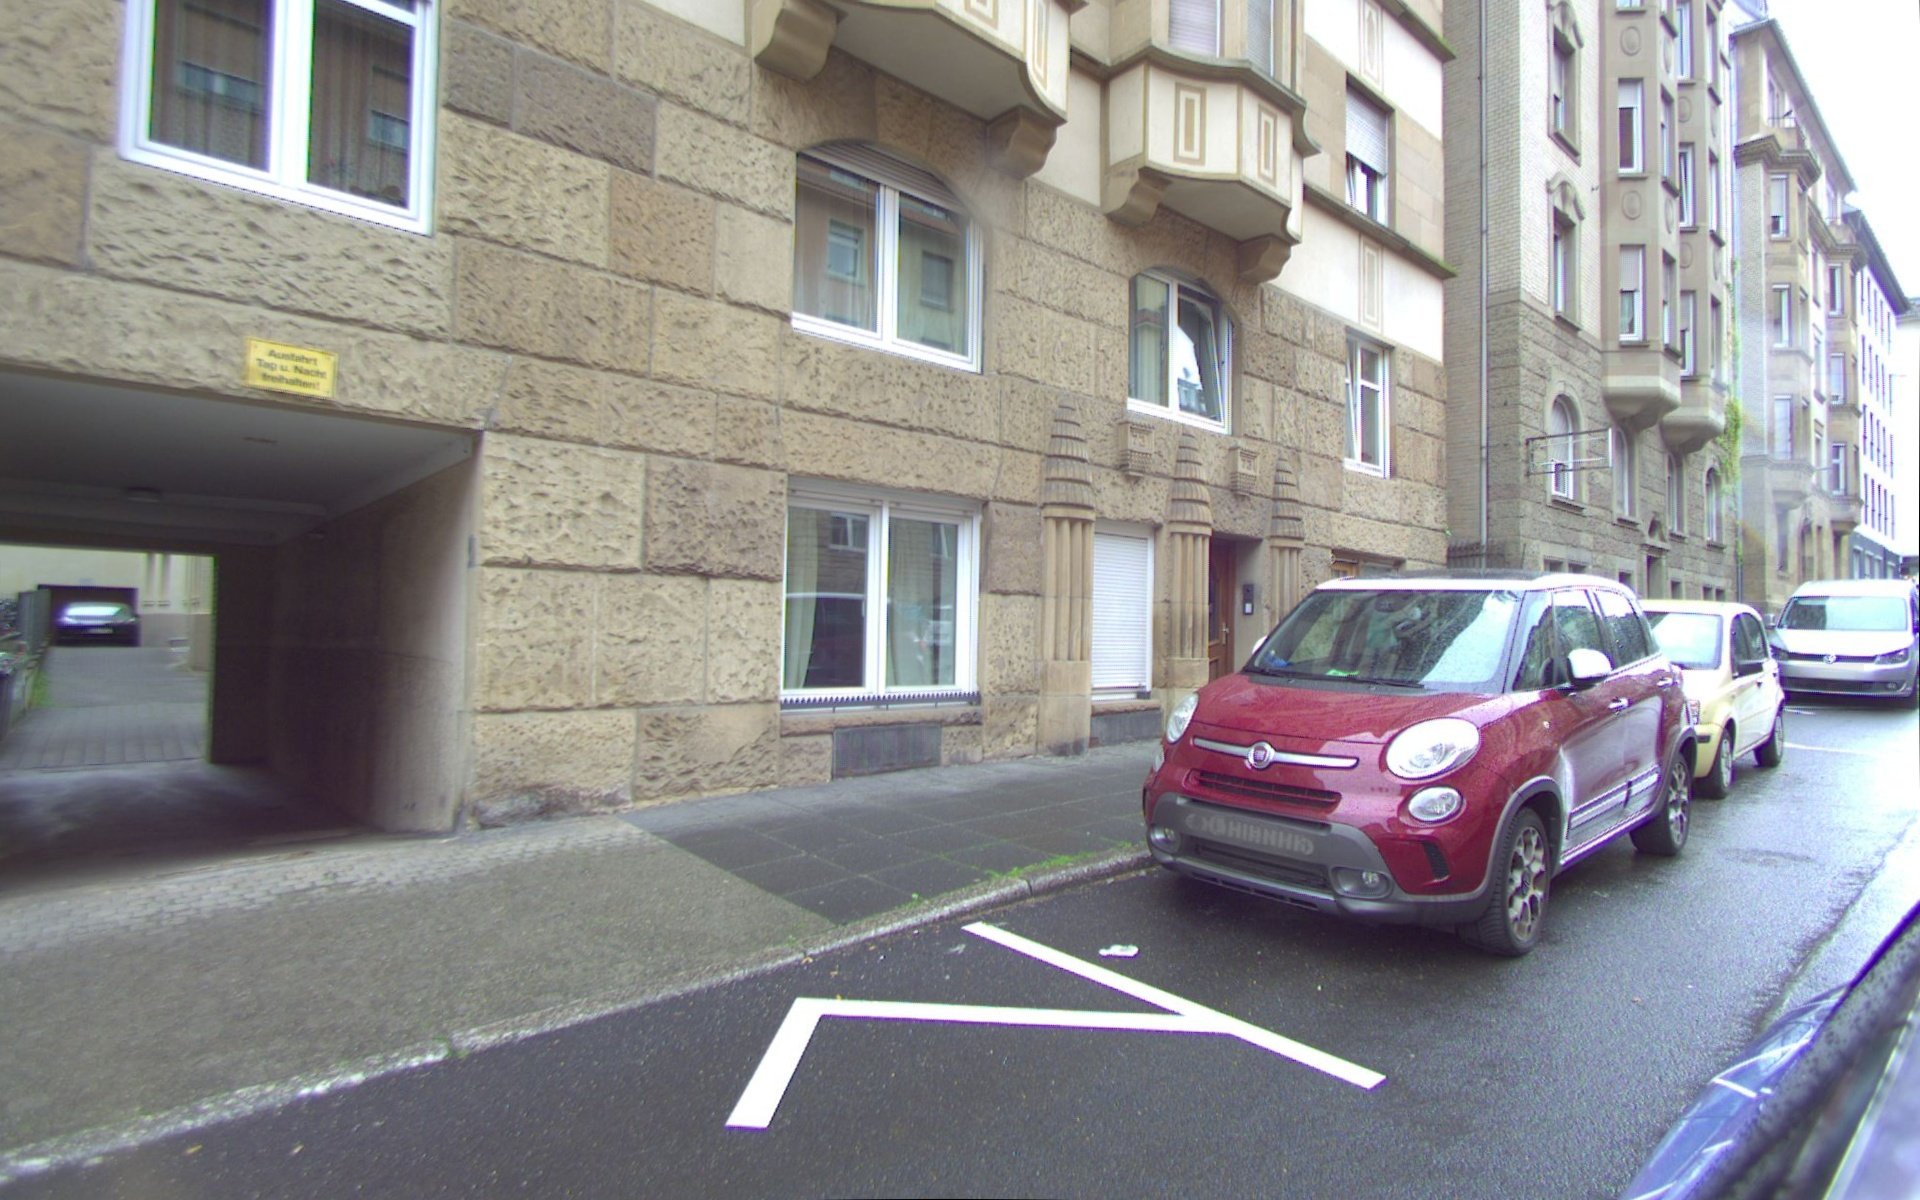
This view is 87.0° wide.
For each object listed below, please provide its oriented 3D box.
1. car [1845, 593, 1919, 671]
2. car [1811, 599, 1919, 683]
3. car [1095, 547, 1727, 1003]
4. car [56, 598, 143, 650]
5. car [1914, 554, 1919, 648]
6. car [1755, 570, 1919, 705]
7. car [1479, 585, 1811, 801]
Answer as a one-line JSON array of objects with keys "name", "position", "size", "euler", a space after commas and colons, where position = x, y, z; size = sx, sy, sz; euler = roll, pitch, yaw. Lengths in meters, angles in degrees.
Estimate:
[{"name": "car", "position": [20.350, 0.628, 21.388], "size": [3.987, 1.544, 1.933], "euler": [0, -1, -41]}, {"name": "car", "position": [17.150, 0.681, 18.427], "size": [3.912, 1.406, 1.929], "euler": [0, -1, -41]}, {"name": "car", "position": [2.699, 0.602, 5.592], "size": [3.932, 1.621, 1.772], "euler": [0, 1, -42]}, {"name": "car", "position": [-25.102, 0.651, 29.471], "size": [1.765, 1.363, 4.008], "euler": [-1, 1, -43]}, {"name": "car", "position": [29.152, -0.007, 28.849], "size": [6.042, 2.567, 1.991], "euler": [0, -1, -39]}, {"name": "car", "position": [13.610, 0.488, 15.291], "size": [3.893, 1.791, 1.809], "euler": [0, 0, -41]}, {"name": "car", "position": [6.144, 0.664, 8.945], "size": [3.471, 1.530, 1.630], "euler": [0, -1, -42]}]
